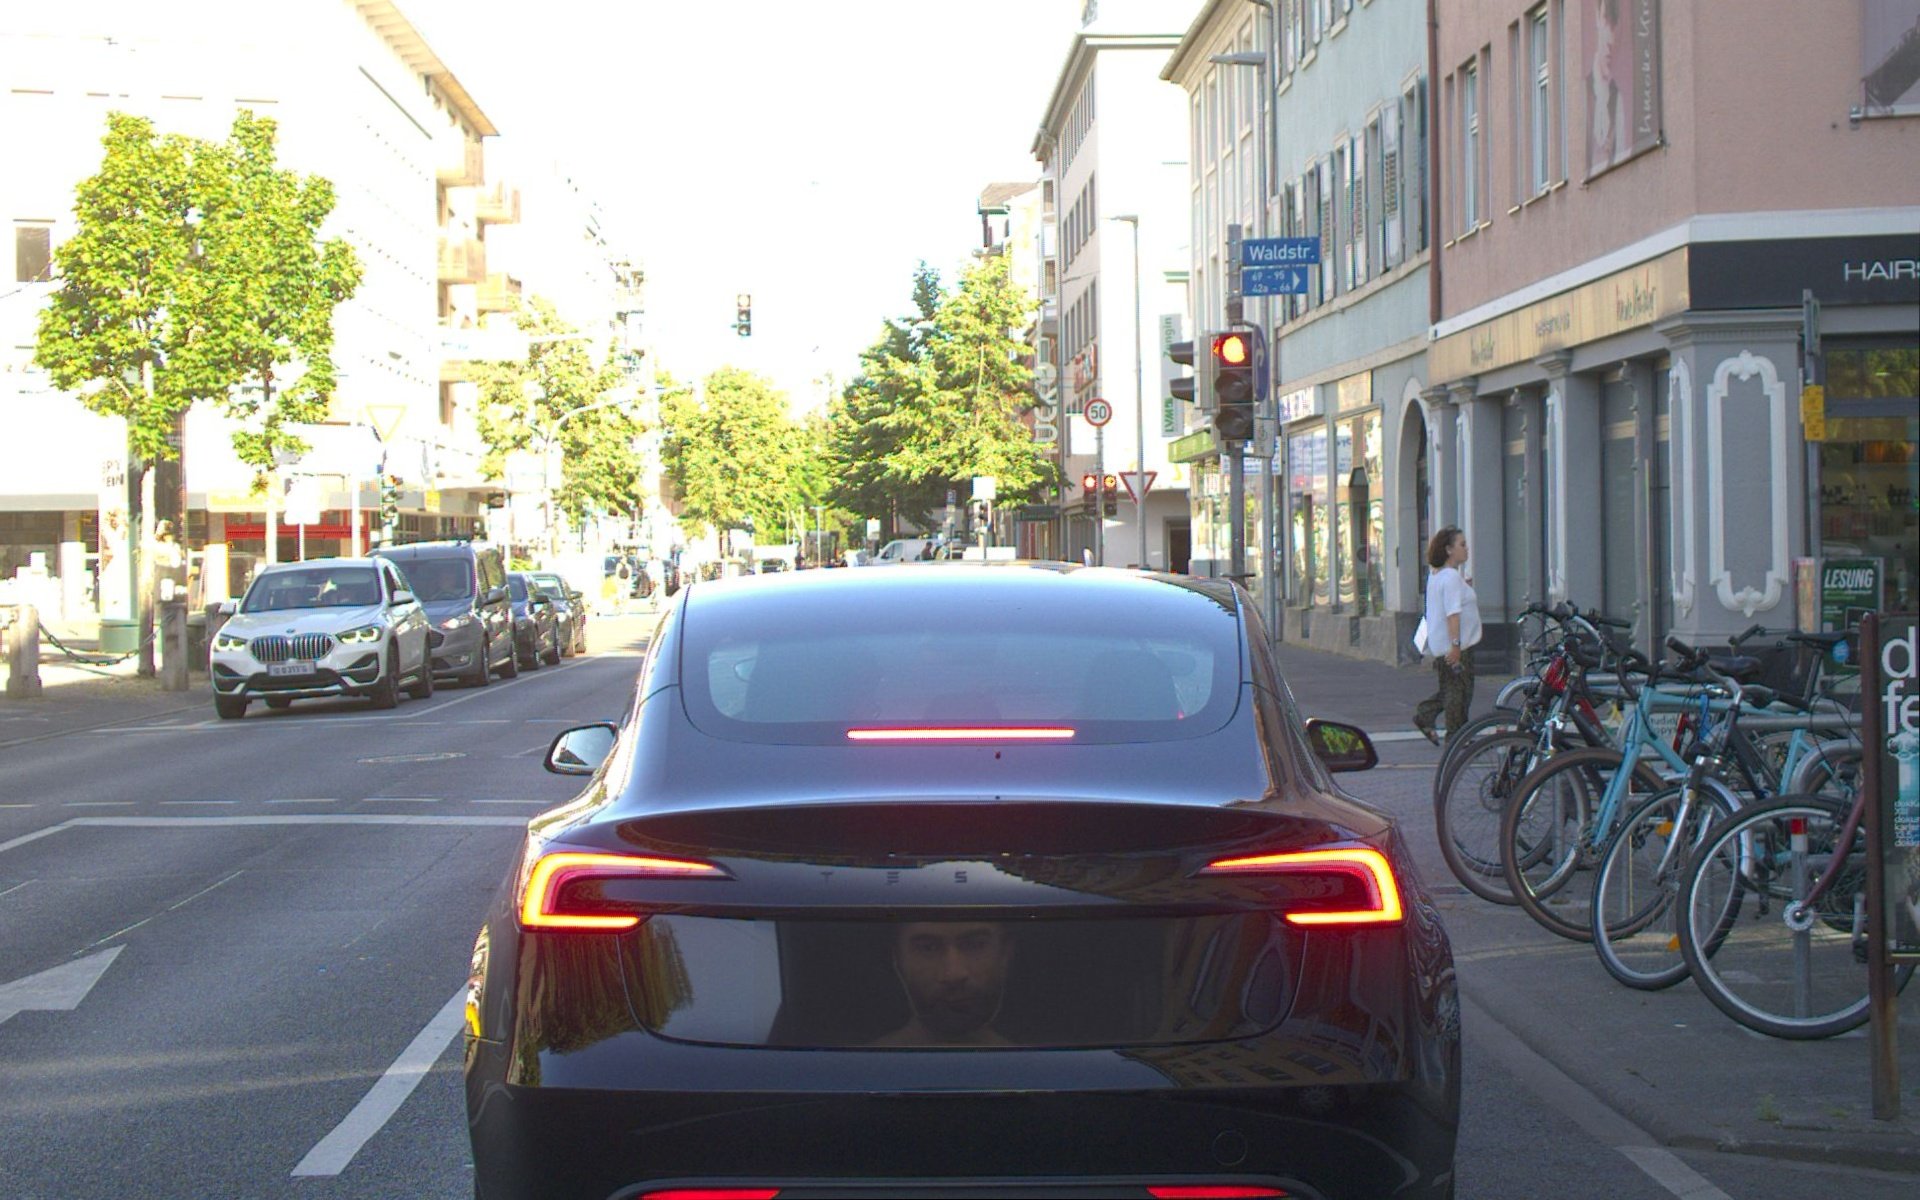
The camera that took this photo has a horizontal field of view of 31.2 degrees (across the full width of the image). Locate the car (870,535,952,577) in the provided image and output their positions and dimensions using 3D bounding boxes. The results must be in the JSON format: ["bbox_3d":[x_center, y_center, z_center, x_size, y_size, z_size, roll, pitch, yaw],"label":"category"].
[{"bbox_3d":[-2.413,-2.146,167.562,3.986,2.007,2.000,0,1,-2],"label":"car"}]

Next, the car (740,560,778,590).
[{"bbox_3d":[-10.934,-1.366,187.084,1.993,1.631,4.001,0,1,-3],"label":"car"}]

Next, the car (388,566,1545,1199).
[{"bbox_3d":[-0.009,0.657,7.509,1.848,1.450,4.000,0,1,-1],"label":"car"}]

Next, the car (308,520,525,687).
[{"bbox_3d":[-6.660,-0.006,42.613,1.834,1.838,4.674,-4,1,0],"label":"car"}]

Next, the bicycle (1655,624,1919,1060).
[{"bbox_3d":[3.033,0.672,9.996,1.886,1.189,0.691,-2,1,5],"label":"bicycle"}]

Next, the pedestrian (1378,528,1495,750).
[{"bbox_3d":[3.373,0.266,24.379,0.747,1.547,0.699,0,1,2],"label":"pedestrian"}]

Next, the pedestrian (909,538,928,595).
[{"bbox_3d":[-1.474,-1.192,121.744,0.640,2.007,0.691,0,1,-4],"label":"pedestrian"}]

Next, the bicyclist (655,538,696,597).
[{"bbox_3d":[-7.908,-0.908,95.623,1.126,1.623,0.965,0,1,-3],"label":"bicyclist"}]

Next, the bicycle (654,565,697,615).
[{"bbox_3d":[-7.890,-0.293,95.540,1.111,1.340,4.001,0,1,-3],"label":"bicycle"}]

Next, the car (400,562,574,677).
[{"bbox_3d":[-6.744,0.242,49.442,1.993,1.405,4.675,-4,1,-3],"label":"car"}]

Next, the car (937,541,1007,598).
[{"bbox_3d":[0.345,-0.896,100.769,1.993,1.623,4.000,0,1,0],"label":"car"}]

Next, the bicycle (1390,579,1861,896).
[{"bbox_3d":[2.811,0.572,14.688,1.862,1.253,0.832,-2,1,5],"label":"bicycle"}]

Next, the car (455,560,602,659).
[{"bbox_3d":[-7.109,0.124,57.033,1.993,1.431,4.675,-4,1,-3],"label":"car"}]

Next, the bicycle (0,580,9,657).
[{"bbox_3d":[-15.709,0.282,52.241,2.323,1.152,0.843,0,1,-5],"label":"bicycle"}]

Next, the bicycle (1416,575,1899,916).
[{"bbox_3d":[2.741,0.560,13.657,1.746,1.262,0.781,-2,1,3],"label":"bicycle"}]

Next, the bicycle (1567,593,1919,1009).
[{"bbox_3d":[2.887,0.623,11.127,1.722,1.263,0.790,-2,1,5],"label":"bicycle"}]

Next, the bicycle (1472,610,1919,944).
[{"bbox_3d":[2.807,0.625,12.479,1.798,1.120,0.781,-2,1,5],"label":"bicycle"}]

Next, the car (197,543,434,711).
[{"bbox_3d":[-6.748,0.233,36.386,1.807,1.550,4.310,-4,1,-3],"label":"car"}]

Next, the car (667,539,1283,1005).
[{"bbox_3d":[-0.017,0.521,13.218,1.993,1.507,4.176,0,1,-2],"label":"car"}]
